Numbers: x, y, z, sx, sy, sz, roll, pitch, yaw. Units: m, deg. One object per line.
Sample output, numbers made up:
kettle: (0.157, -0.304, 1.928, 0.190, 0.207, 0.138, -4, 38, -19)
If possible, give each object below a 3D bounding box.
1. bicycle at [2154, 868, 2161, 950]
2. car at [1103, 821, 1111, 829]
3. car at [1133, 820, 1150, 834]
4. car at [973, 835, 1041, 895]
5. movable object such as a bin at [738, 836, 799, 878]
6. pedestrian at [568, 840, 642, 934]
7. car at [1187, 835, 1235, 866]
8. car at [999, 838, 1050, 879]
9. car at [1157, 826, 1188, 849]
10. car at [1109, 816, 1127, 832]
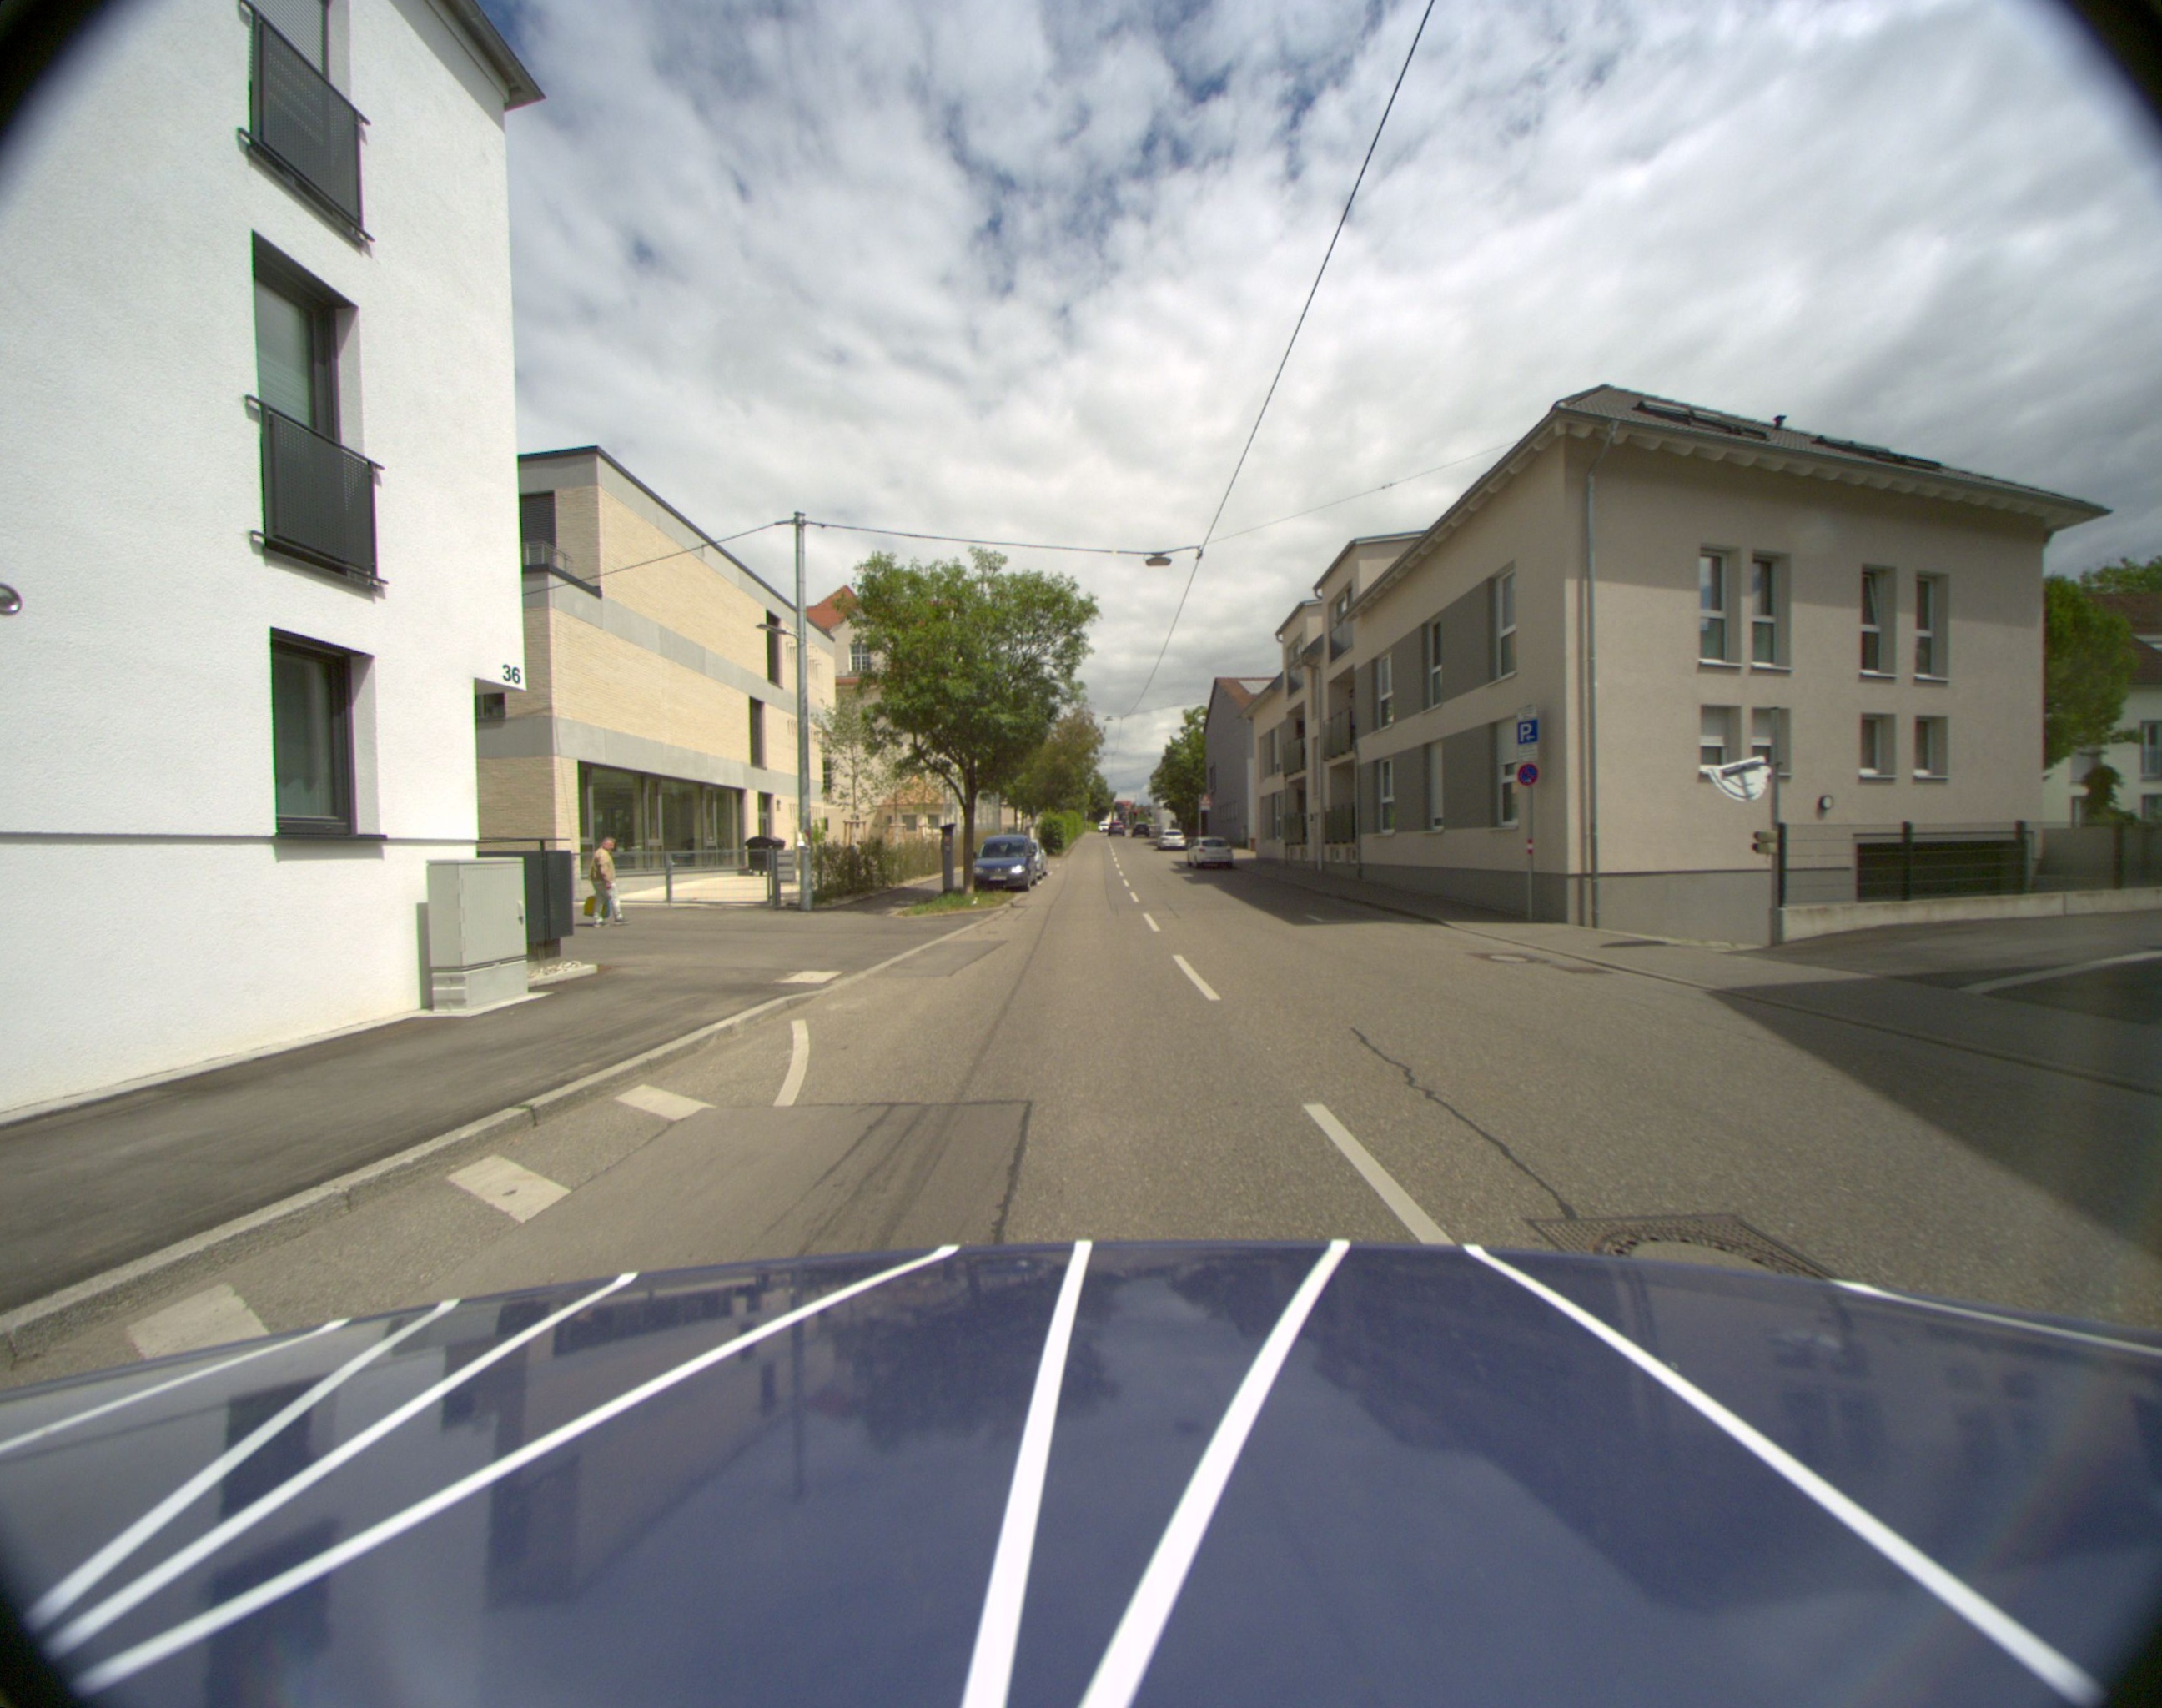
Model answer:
bicycle: (11.875, 0.620, 7.836, 0.458, 0.912, 1.593, -1, 0, 37)
car: (4.417, -4.900, 128.150, 1.298, 1.148, 2.983, -3, 0, 1)
car: (6.808, -3.087, 86.217, 1.672, 1.545, 3.963, 0, 3, 1)
car: (-2.313, 0.279, 24.815, 1.698, 1.733, 4.158, 0, 2, 1)
movable object such as a bin: (-11.409, 0.083, 27.838, 1.351, 1.439, 1.806, -2, 2, 2)
pedestrian: (-8.970, 0.595, 14.348, 0.775, 1.694, 0.829, -2, 2, 0)
car: (5.959, -0.178, 35.083, 1.665, 1.322, 3.473, 0, 1, 1)
car: (-2.193, 0.148, 30.497, 1.677, 1.510, 3.669, 0, 1, 1)
car: (6.344, -1.165, 53.088, 1.737, 1.480, 4.064, 0, 3, 1)
car: (4.329, -3.510, 89.424, 1.946, 1.709, 4.596, 0, 1, 0)
